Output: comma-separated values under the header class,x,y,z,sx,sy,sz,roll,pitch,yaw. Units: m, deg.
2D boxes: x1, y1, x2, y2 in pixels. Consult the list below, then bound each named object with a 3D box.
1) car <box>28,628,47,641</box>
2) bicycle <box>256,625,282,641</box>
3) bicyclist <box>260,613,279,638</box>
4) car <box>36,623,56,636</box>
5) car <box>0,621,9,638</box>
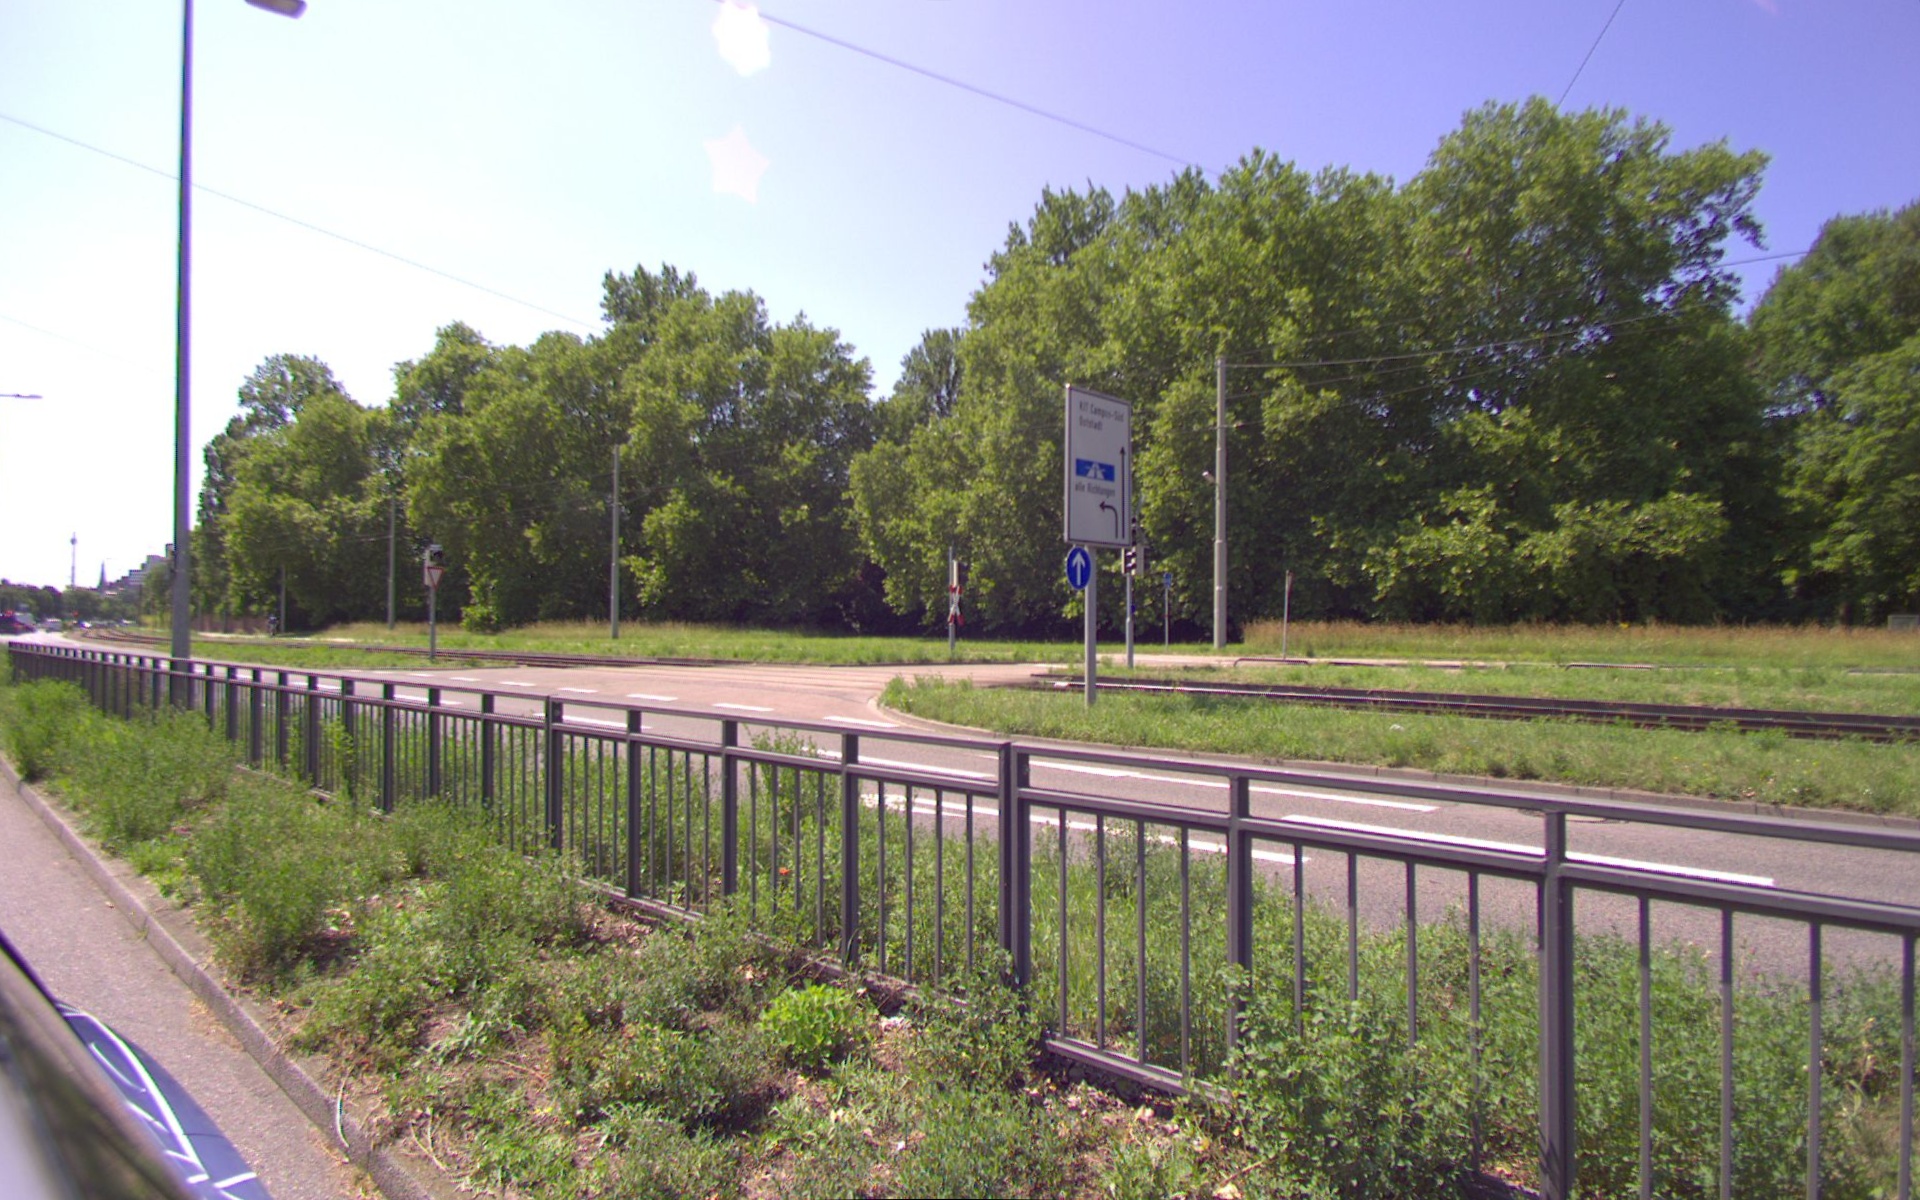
class,x,y,z,sx,sy,sz,roll,pitch,yaw
car,-141.891,5.261,155.677,1.970,1.871,4.003,1,-2,-44
bicycle,-49.738,2.372,72.832,2.785,1.171,0.851,-1,-2,41
bicyclist,-49.684,1.843,72.828,1.117,1.820,0.851,-1,-2,41
car,-136.889,4.438,151.551,1.970,1.871,4.003,1,-2,-44
car,-107.863,3.291,113.268,1.970,1.871,4.004,1,-2,-43
